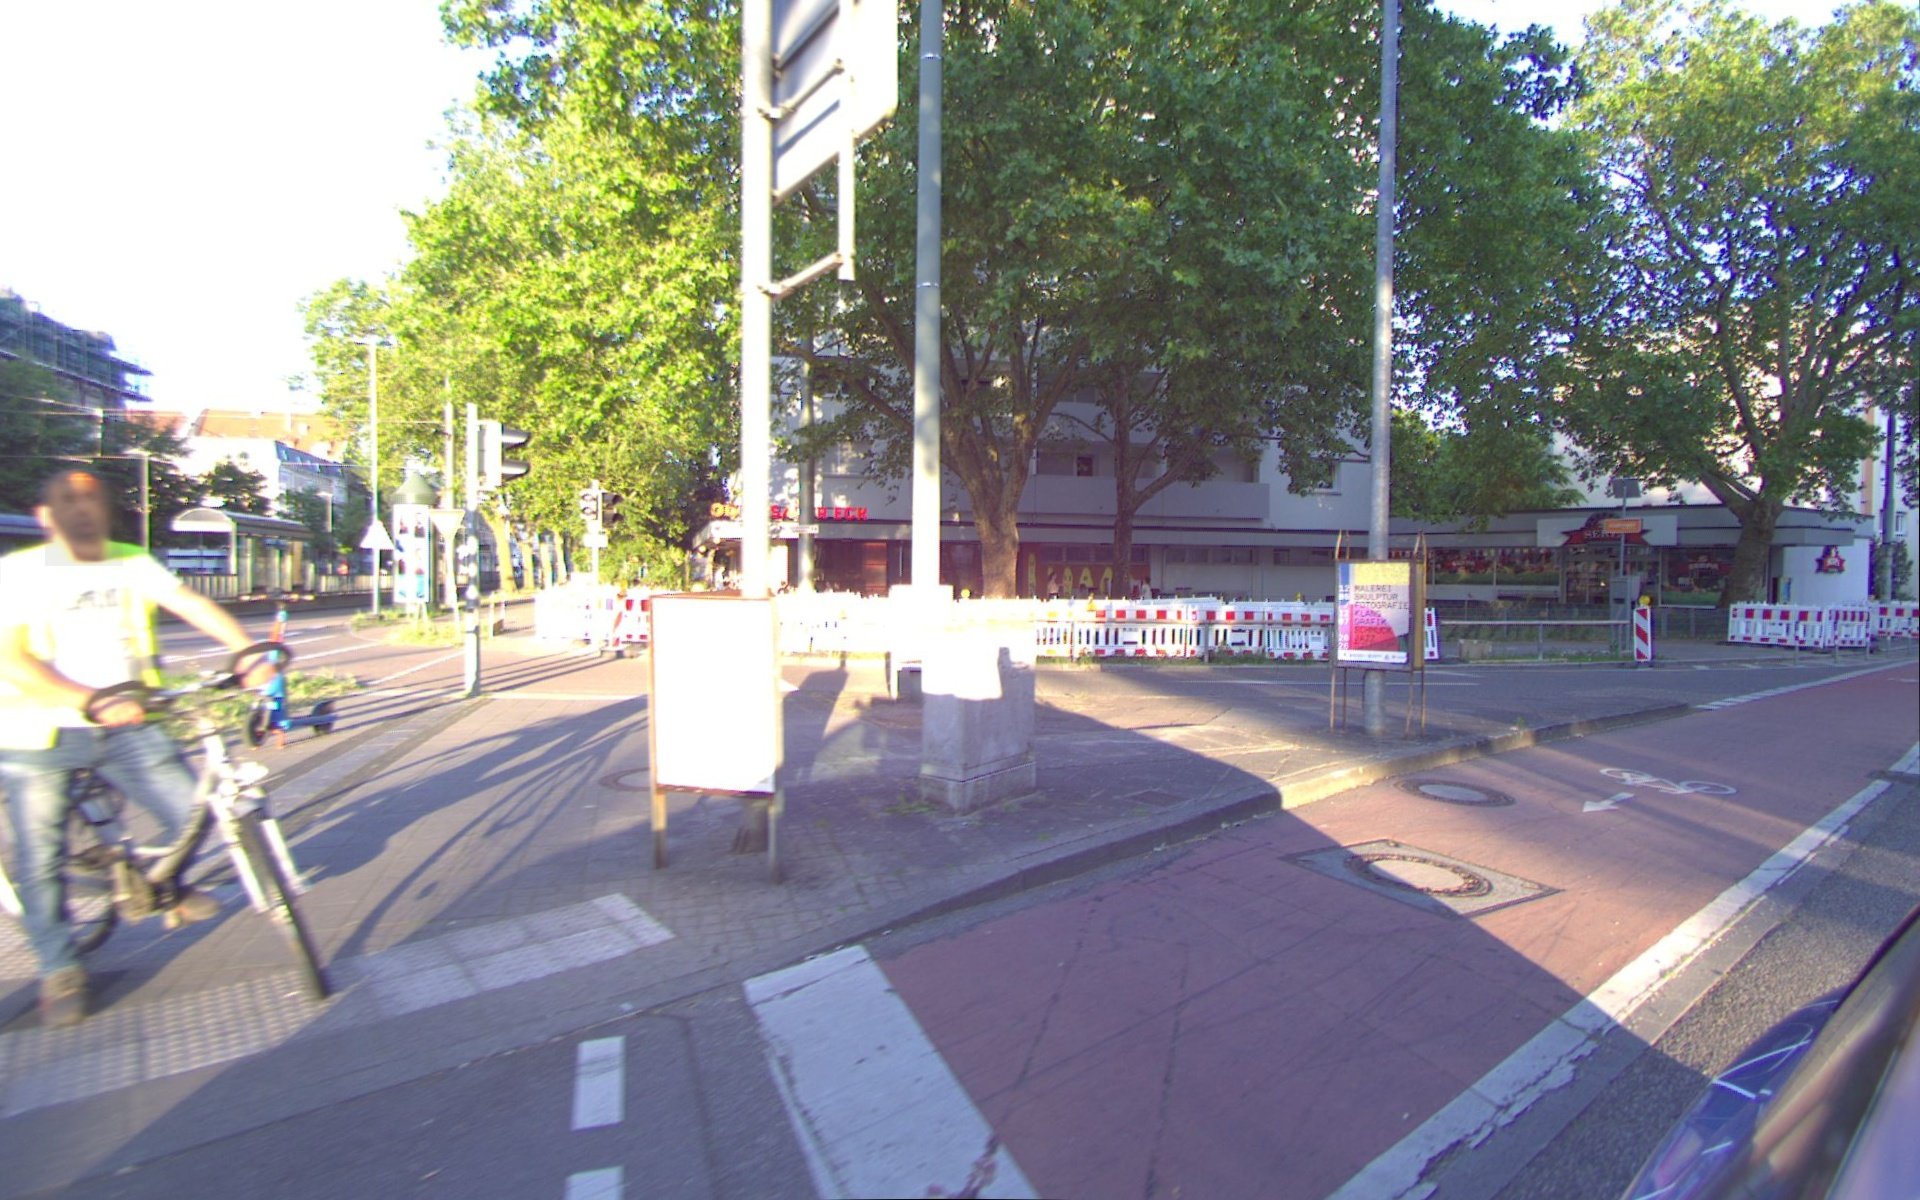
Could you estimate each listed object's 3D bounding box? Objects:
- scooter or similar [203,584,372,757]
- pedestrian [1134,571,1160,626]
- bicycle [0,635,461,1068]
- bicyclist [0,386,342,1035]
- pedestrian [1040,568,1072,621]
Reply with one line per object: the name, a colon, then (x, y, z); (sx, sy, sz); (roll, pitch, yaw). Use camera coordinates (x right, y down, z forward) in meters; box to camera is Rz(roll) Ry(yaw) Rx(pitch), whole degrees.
scooter or similar: (-5.316, 0.511, 8.078); (0.506, 1.265, 1.235); (-1, 1, 0)
pedestrian: (5.574, -0.066, 30.181); (0.629, 1.608, 0.746); (-1, 1, 2)
bicycle: (-2.705, 0.698, 3.340); (2.045, 1.123, 0.624); (-1, 1, 19)
bicyclist: (-2.565, 0.313, 3.287); (0.689, 1.847, 0.625); (-1, 1, 18)
pedestrian: (2.968, -0.177, 31.354); (0.639, 1.608, 0.735); (0, 1, 44)
